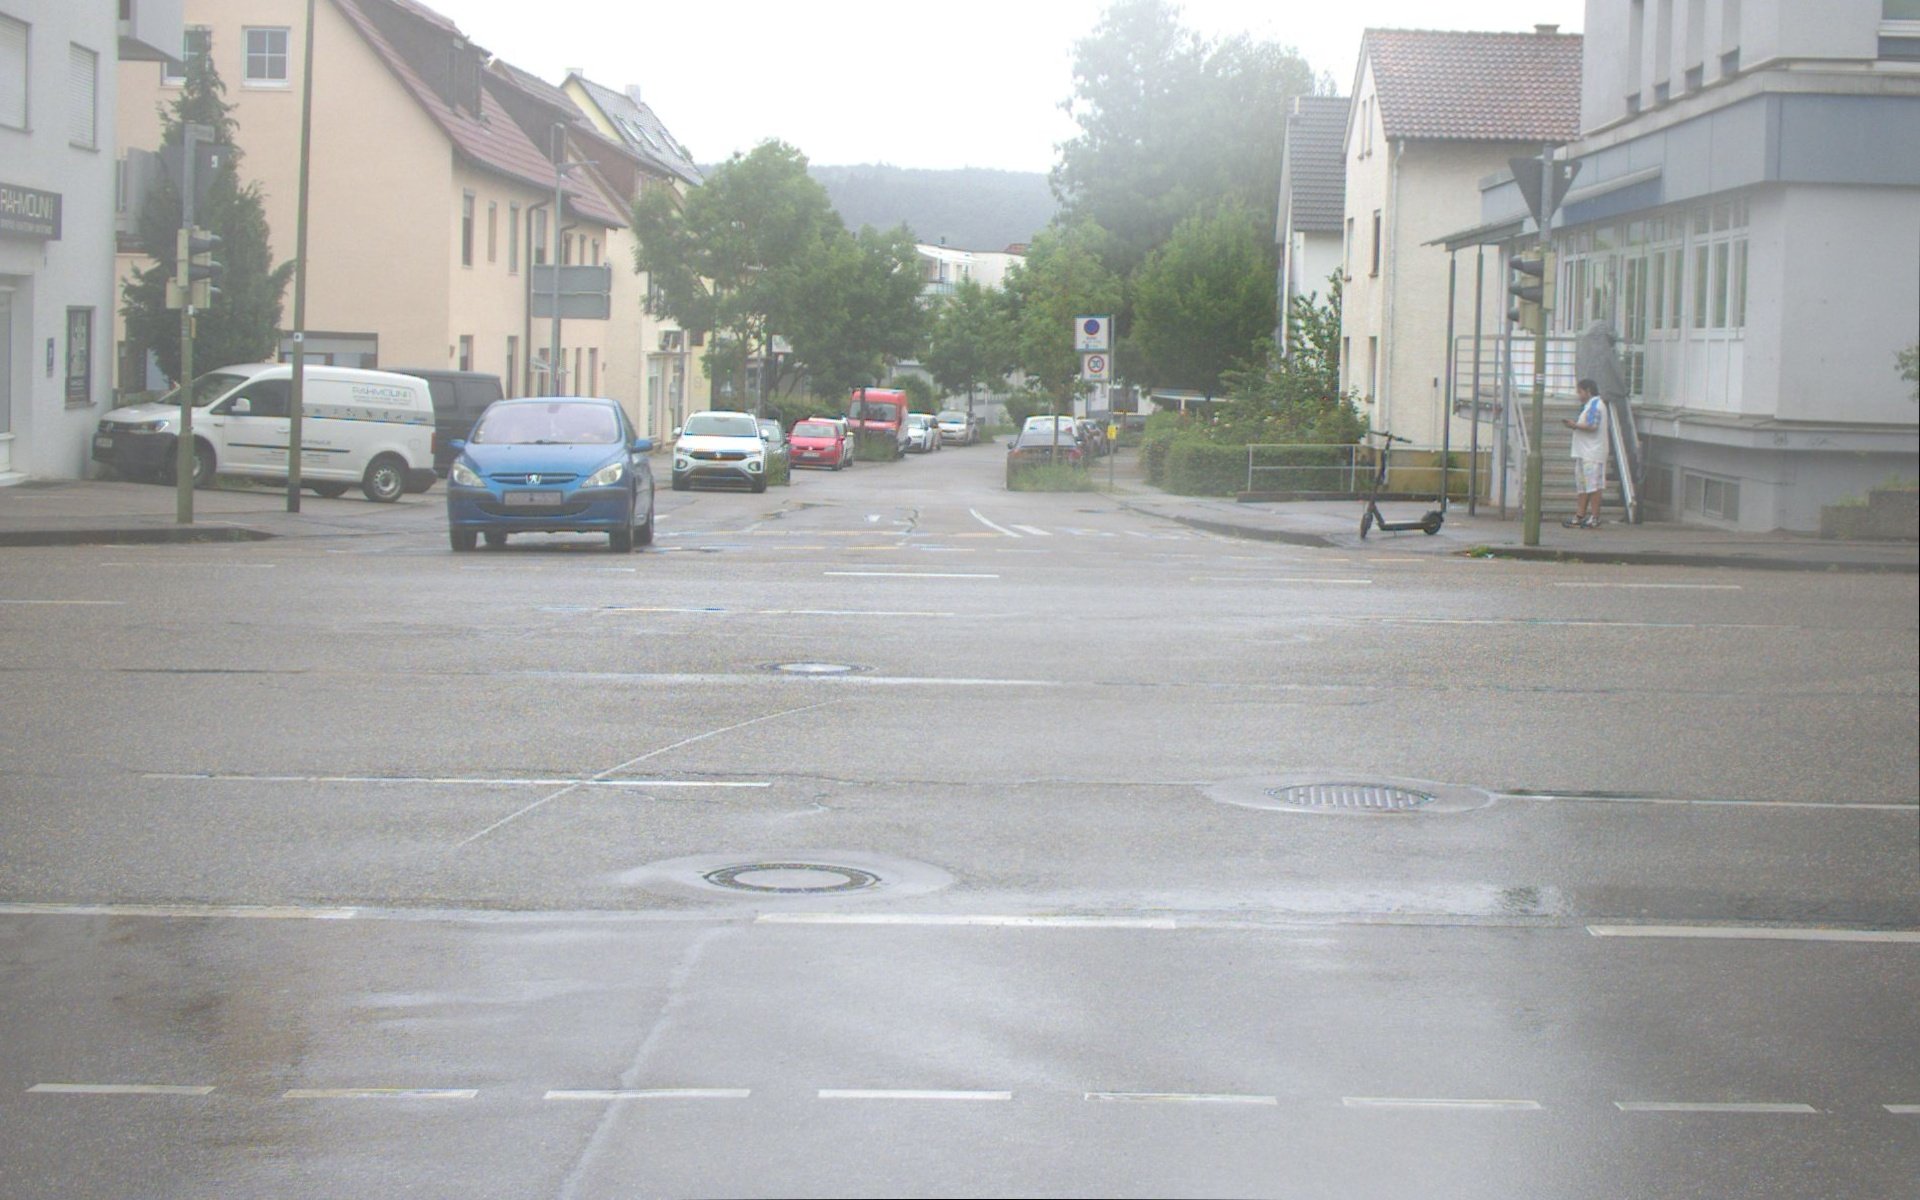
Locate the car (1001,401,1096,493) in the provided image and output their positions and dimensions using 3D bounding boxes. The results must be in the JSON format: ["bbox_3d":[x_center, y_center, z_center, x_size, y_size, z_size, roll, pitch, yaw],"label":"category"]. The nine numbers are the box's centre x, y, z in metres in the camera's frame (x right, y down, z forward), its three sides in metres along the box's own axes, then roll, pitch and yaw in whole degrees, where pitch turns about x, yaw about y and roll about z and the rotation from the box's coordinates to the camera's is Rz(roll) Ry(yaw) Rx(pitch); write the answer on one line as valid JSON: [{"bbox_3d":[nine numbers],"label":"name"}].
[{"bbox_3d":[2.124,-3.592,81.184,1.994,2.007,3.999,1,1,5],"label":"car"}]

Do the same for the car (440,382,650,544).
[{"bbox_3d":[-3.998,-1.288,33.643,1.767,1.440,4.001,1,1,-3],"label":"car"}]

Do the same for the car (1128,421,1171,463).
[{"bbox_3d":[9.389,-7.834,170.506,1.994,2.006,4.000,1,3,5],"label":"car"}]

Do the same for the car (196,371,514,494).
[{"bbox_3d":[-9.593,-2.650,54.671,4.608,1.882,1.963,-2,3,-39],"label":"car"}]

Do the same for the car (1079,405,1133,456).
[{"bbox_3d":[5.882,-6.799,137.921,1.994,2.006,4.000,1,3,5],"label":"car"}]

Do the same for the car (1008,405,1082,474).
[{"bbox_3d":[2.573,-4.821,103.383,1.994,2.006,4.000,1,3,5],"label":"car"}]

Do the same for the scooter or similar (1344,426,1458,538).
[{"bbox_3d":[4.938,-1.313,38.548,1.058,1.223,0.802,1,0,-9],"label":"scooter or similar"}]

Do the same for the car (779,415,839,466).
[{"bbox_3d":[-4.589,-4.825,104.175,1.767,1.513,4.001,0,3,-3],"label":"car"}]

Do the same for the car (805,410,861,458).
[{"bbox_3d":[-4.164,-5.414,112.338,1.767,1.513,4.001,0,3,-3],"label":"car"}]

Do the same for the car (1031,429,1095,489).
[{"bbox_3d":[3.576,-4.874,118.595,1.994,2.006,4.000,1,3,5],"label":"car"}]

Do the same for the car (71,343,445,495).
[{"bbox_3d":[-9.668,-2.470,47.573,4.715,1.772,1.772,2,1,-39],"label":"car"}]

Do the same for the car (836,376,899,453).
[{"bbox_3d":[-3.382,-6.782,126.368,2.216,2.759,5.726,0,3,-1],"label":"car"}]

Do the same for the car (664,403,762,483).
[{"bbox_3d":[-4.837,-3.089,67.695,1.767,1.518,4.001,0,3,-2],"label":"car"}]

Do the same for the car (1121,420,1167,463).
[{"bbox_3d":[8.671,-7.460,161.901,1.994,2.006,4.000,1,3,5],"label":"car"}]

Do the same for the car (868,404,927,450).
[{"bbox_3d":[-2.505,-6.963,138.450,1.994,1.678,3.999,1,1,5],"label":"car"}]

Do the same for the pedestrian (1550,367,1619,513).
[{"bbox_3d":[7.197,-1.839,39.619,0.654,1.646,0.646,1,0,0],"label":"pedestrian"}]

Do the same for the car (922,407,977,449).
[{"bbox_3d":[-0.452,-7.735,154.491,1.994,1.700,3.999,1,1,6],"label":"car"}]

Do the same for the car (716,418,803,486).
[{"bbox_3d":[-4.610,-3.432,79.428,1.767,1.513,4.195,0,3,0],"label":"car"}]
